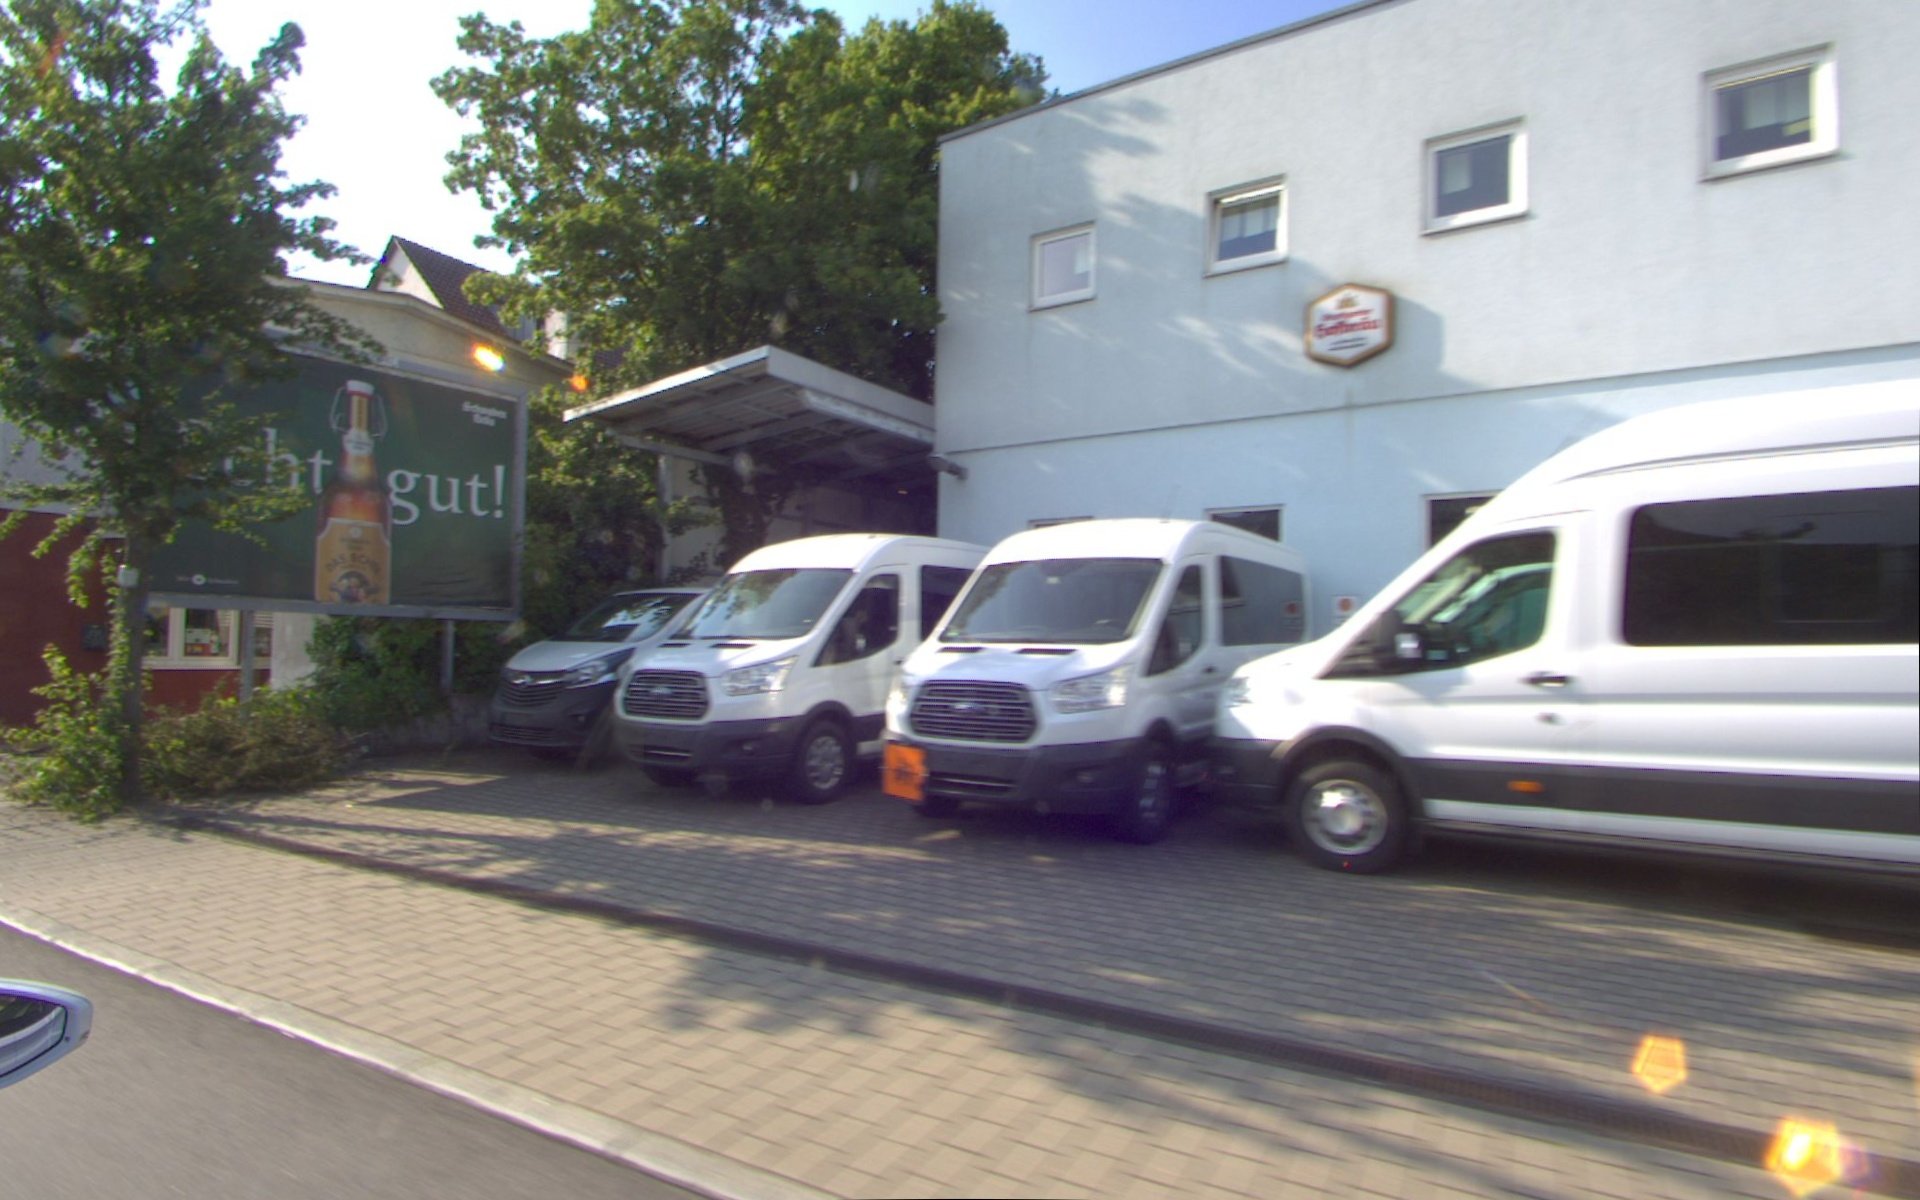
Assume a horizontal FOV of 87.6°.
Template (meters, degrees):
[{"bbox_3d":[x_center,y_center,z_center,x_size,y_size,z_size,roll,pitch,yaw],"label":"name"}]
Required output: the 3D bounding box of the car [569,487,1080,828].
[{"bbox_3d":[-0.906,0.550,10.608,2.014,2.548,6.037,0,-2,31],"label":"car"}]

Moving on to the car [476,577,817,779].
[{"bbox_3d":[-3.389,0.810,11.457,1.563,1.918,3.596,0,-2,30],"label":"car"}]

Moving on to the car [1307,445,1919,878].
[{"bbox_3d":[6.156,0.432,7.610,6.350,2.756,2.108,0,-2,32],"label":"car"}]

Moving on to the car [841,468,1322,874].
[{"bbox_3d":[1.593,0.541,9.029,2.014,2.393,6.037,0,-2,31],"label":"car"}]

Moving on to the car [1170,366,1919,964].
[{"bbox_3d":[4.680,0.333,5.624,6.508,2.715,2.146,0,-2,32],"label":"car"}]
